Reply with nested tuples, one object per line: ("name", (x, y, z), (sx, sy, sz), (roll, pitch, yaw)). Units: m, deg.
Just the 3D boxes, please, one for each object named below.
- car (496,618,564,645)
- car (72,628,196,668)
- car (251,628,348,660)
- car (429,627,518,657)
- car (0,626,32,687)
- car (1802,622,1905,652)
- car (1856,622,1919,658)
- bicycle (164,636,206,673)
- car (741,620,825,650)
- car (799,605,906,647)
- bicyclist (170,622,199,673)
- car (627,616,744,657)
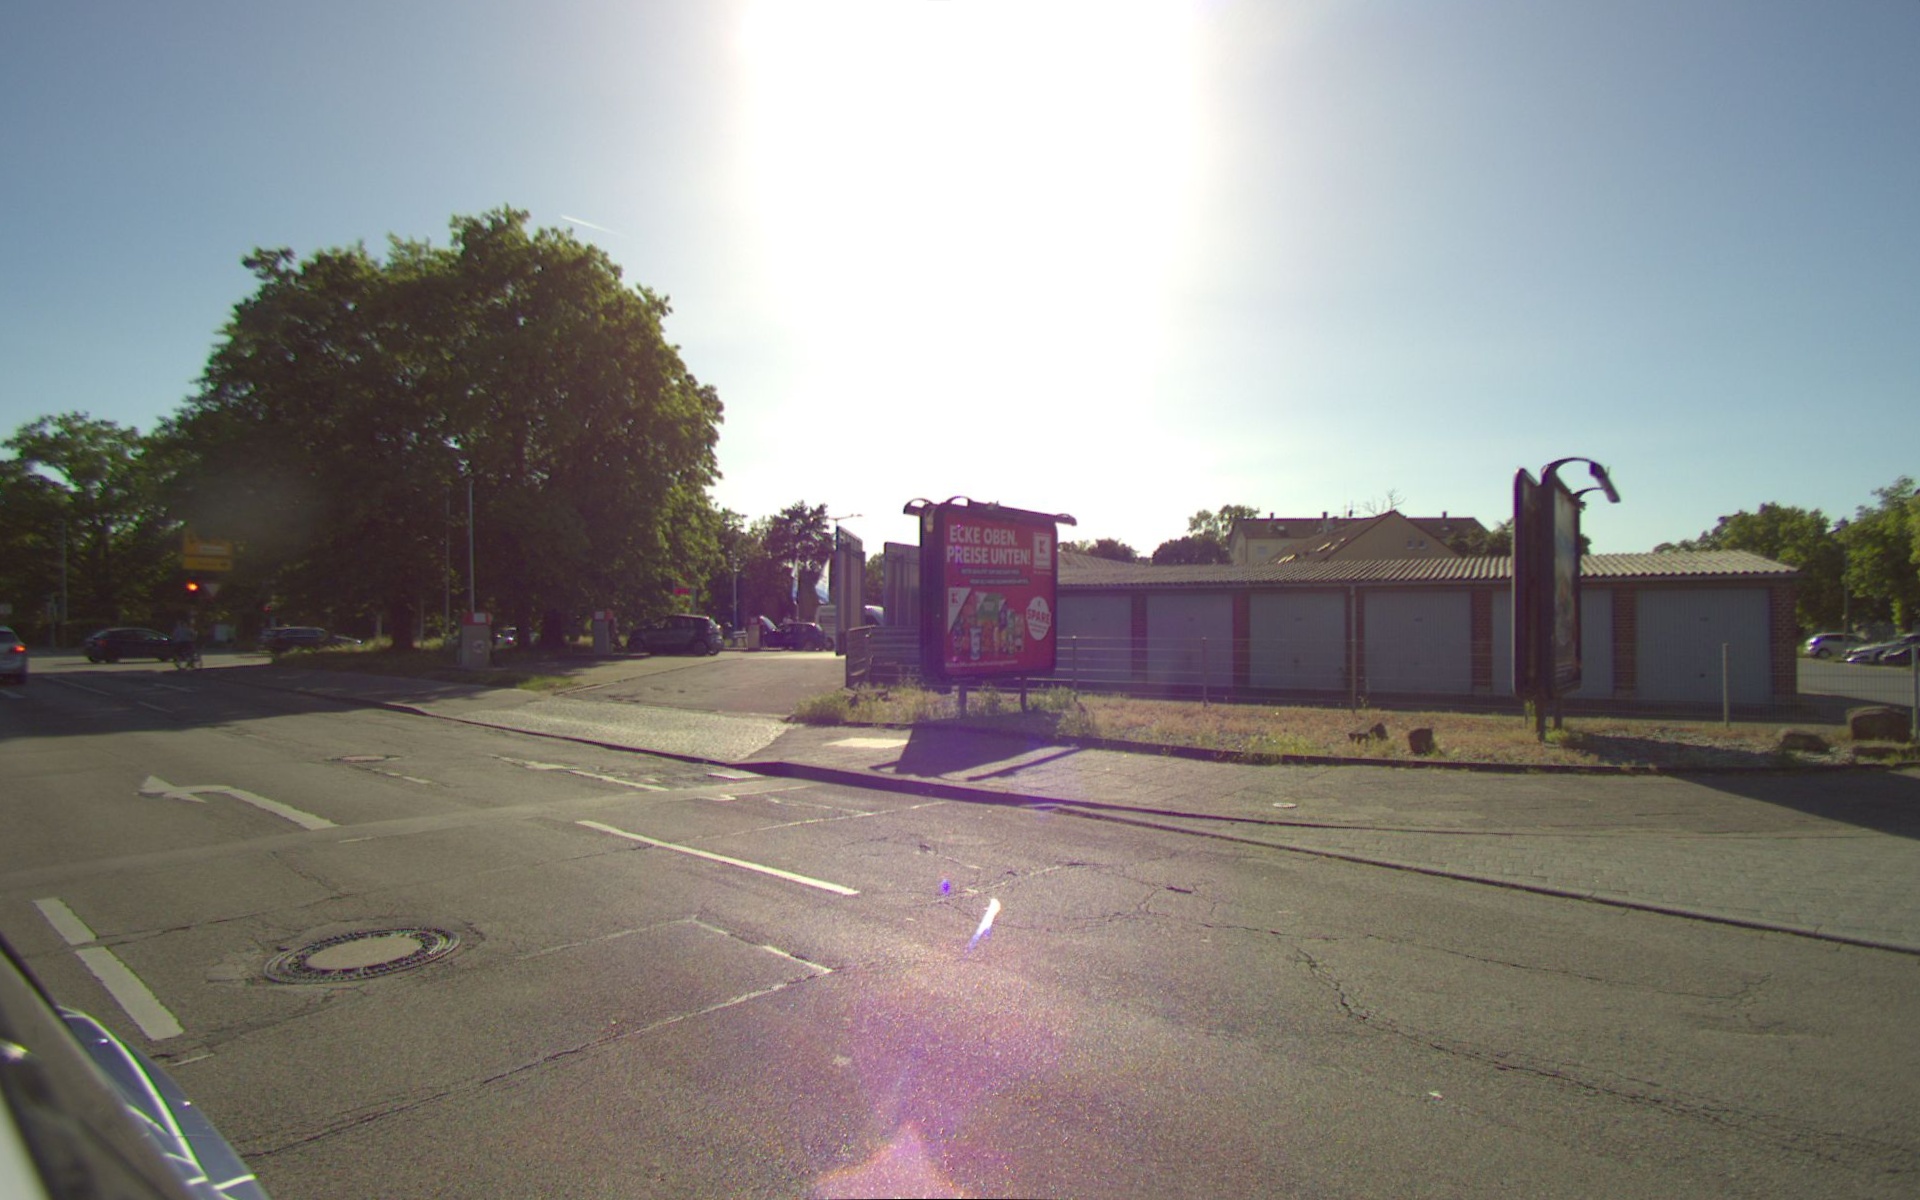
("car", (-28.187, 2.048, 66.402), (1.685, 1.450, 3.875), (-1, 2, 29))
("car", (-35.871, 2.064, 44.060), (1.685, 1.450, 3.874), (1, 1, 29))
("car", (-33.982, 2.241, 52.192), (3.930, 1.552, 1.629), (1, 0, -22))
("car", (-27.955, 2.395, 58.254), (1.913, 1.497, 4.319), (1, 0, 30))
("car", (-25.596, 1.427, 26.173), (4.887, 1.500, 1.817), (-1, -1, 41))
("car", (49.617, 2.078, 56.309), (3.982, 1.632, 1.639), (-1, -2, 29))
("car", (44.183, 1.845, 46.668), (3.978, 1.632, 1.640), (0, -1, 26))
("bicycle", (-25.549, 1.780, 33.350), (2.022, 1.150, 0.522), (-1, -1, 36))
("car", (-8.896, 1.764, 50.984), (3.863, 1.347, 1.568), (1, 0, 10))
("car", (-5.930, 1.388, 55.462), (5.622, 2.115, 1.983), (1, 0, 26))
("bicyclist", (-25.542, 1.547, 33.326), (0.828, 1.654, 0.536), (-2, -1, 35))
("car", (-10.474, 1.381, 38.767), (3.951, 1.386, 1.757), (1, 0, 6))
